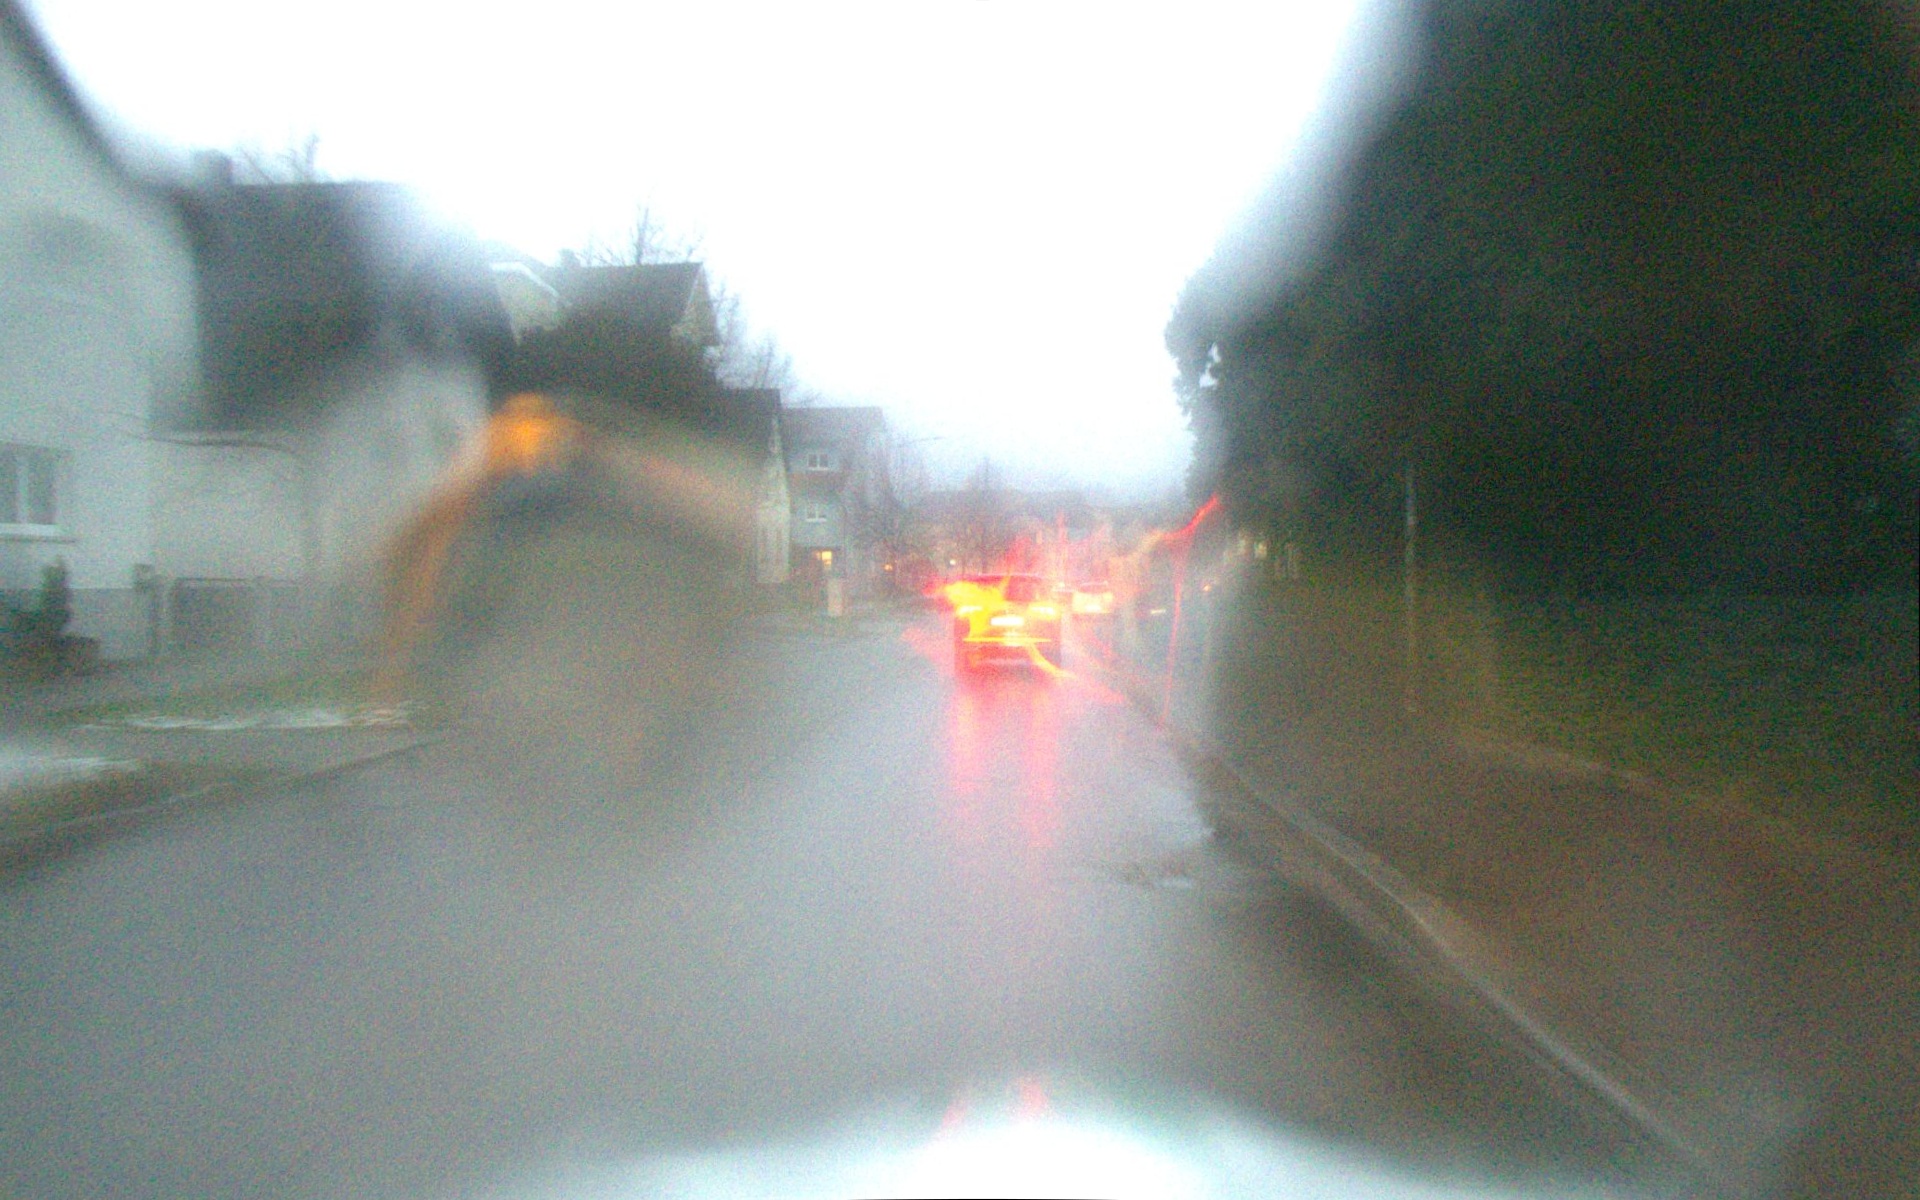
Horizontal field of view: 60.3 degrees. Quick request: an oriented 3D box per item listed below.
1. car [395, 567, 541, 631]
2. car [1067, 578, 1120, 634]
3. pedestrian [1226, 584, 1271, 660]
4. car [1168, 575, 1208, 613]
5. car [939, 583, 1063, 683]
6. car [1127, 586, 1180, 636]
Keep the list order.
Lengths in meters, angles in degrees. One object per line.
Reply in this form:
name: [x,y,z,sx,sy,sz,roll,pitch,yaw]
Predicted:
car: [-11.551,-0.004,39.127,1.744,1.390,4.003,2,0,8]
car: [5.317,0.243,65.407,1.951,2.049,4.002,2,0,6]
pedestrian: [6.878,0.526,39.479,0.966,1.772,1.057,-1,0,7]
car: [12.991,-0.369,93.857,1.935,2.049,5.750,-1,0,11]
car: [0.743,0.525,28.497,1.952,1.552,4.001,1,0,2]
car: [6.393,0.348,54.354,1.614,1.567,3.393,1,0,8]
